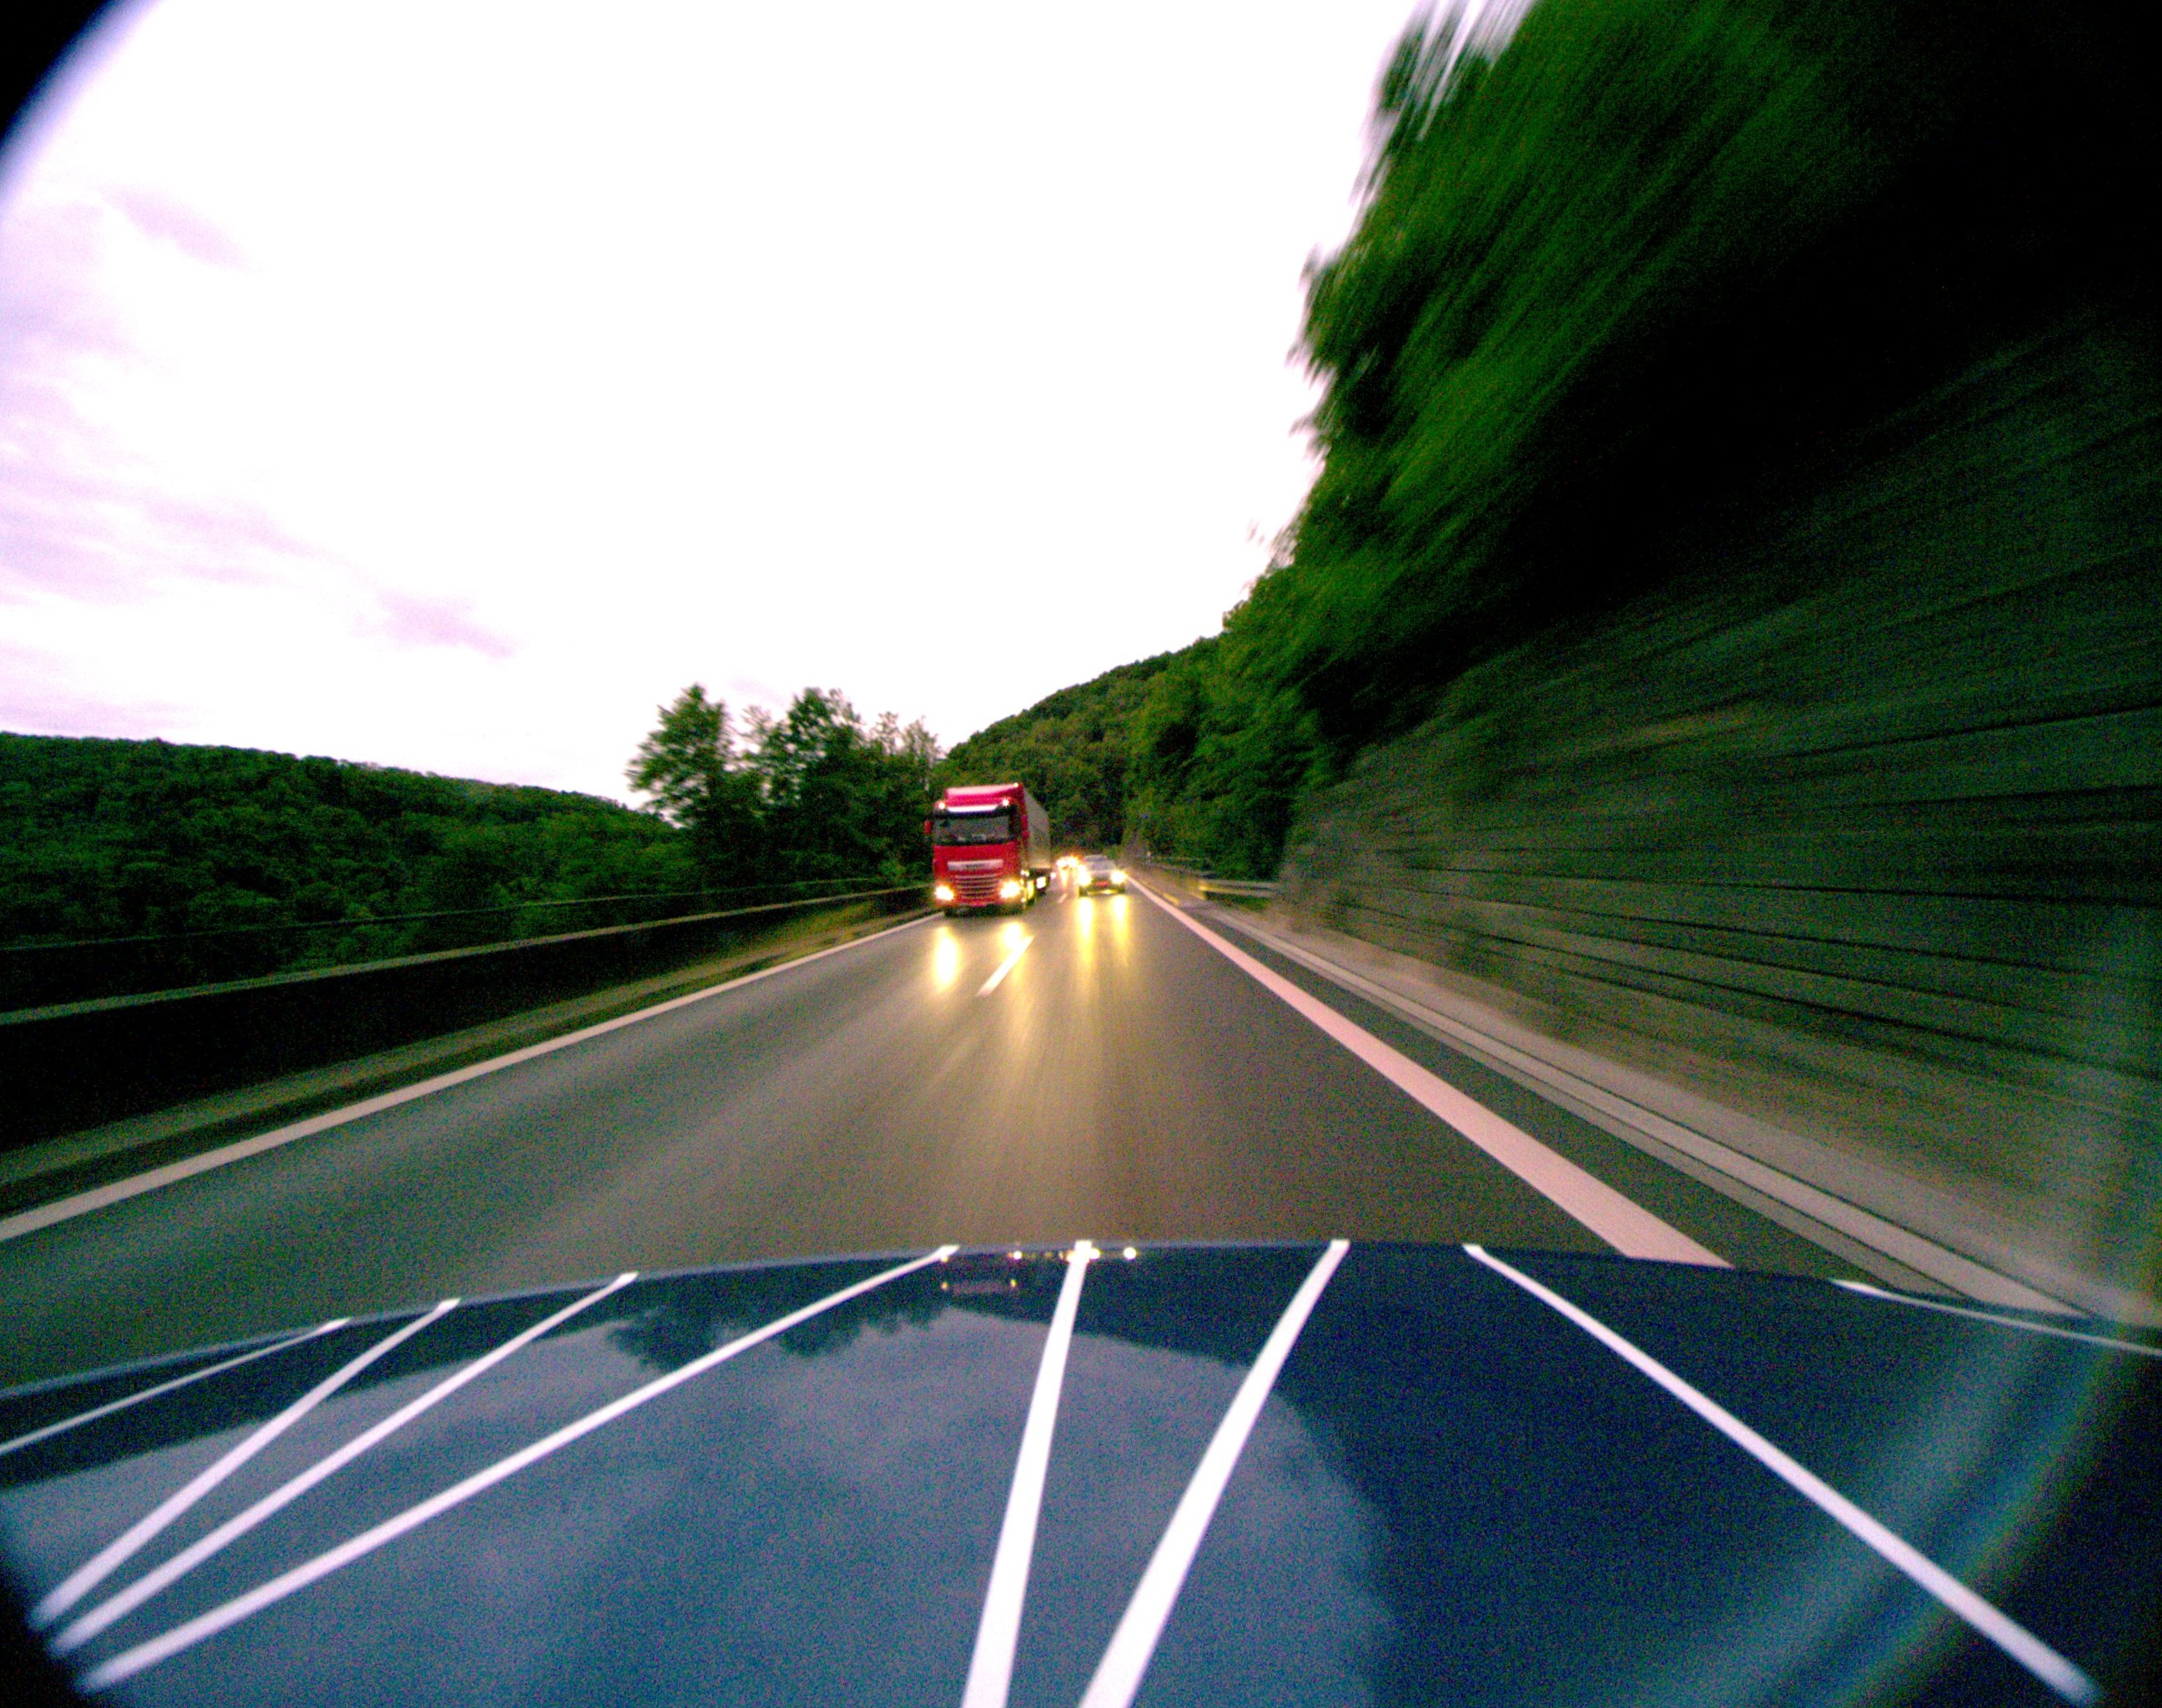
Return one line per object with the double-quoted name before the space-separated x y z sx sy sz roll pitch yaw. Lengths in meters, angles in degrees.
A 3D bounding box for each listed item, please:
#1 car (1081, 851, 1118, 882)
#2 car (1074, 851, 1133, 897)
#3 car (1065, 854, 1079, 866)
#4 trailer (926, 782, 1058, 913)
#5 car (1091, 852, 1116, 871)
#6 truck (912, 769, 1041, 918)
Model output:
"car" 1.154 0.716 46.818 1.998 1.630 4.000 -6 0 2
"car" 0.972 0.735 30.180 1.998 1.499 4.000 -5 1 5
"car" -1.392 0.903 115.652 1.998 1.761 4.000 -1 0 1
"trailer" -3.024 -0.175 31.120 3.105 3.946 14.219 -4 0 2
"car" 1.845 0.630 63.407 1.998 1.499 4.000 -1 -1 1
"truck" -3.133 -0.300 24.821 3.077 4.120 6.446 -2 0 1
